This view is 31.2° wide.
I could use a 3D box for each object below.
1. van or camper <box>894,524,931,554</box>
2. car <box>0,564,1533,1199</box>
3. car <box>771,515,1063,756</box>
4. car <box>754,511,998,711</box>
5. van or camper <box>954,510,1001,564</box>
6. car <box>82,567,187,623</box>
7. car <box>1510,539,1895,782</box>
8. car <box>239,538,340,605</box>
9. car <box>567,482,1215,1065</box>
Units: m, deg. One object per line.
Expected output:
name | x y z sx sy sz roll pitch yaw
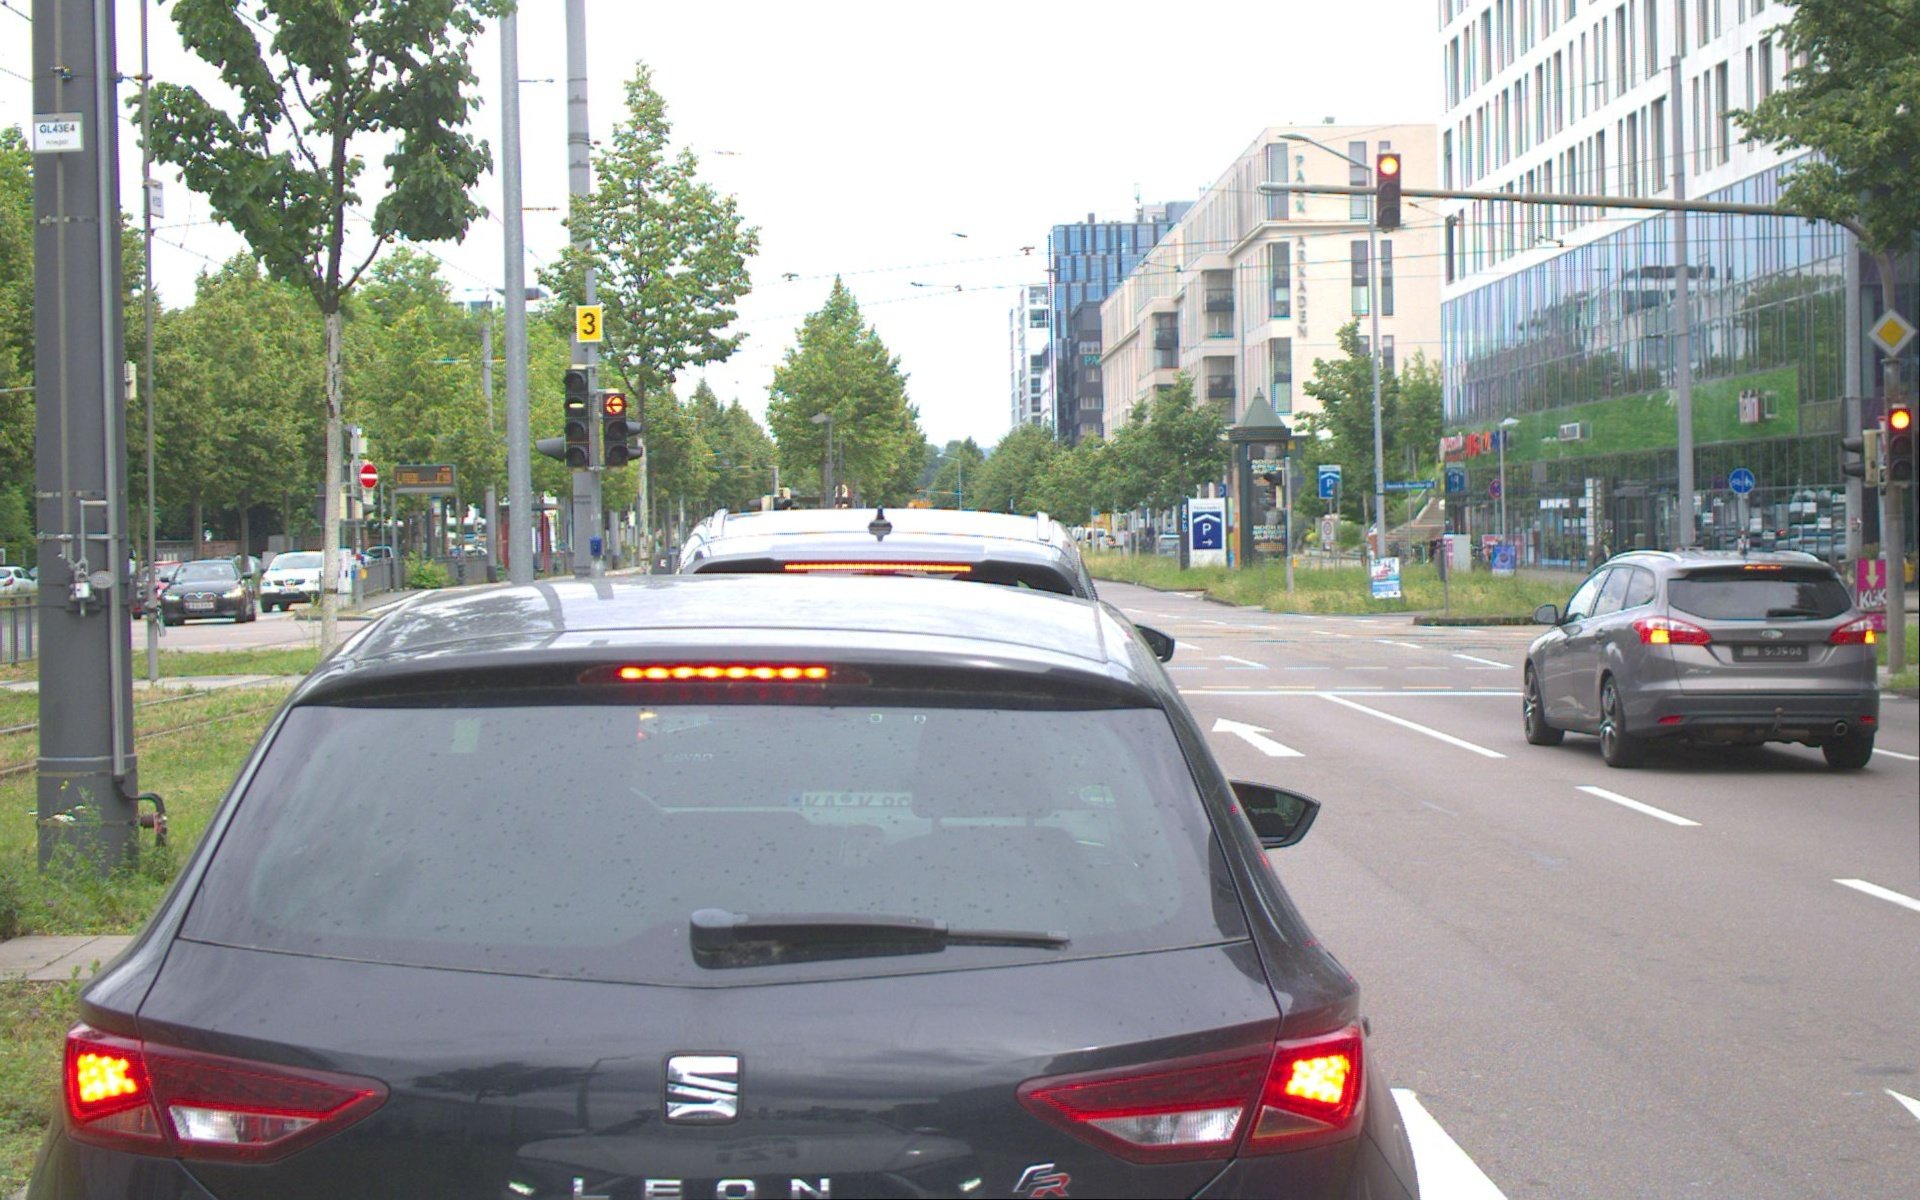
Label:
van or camper | -2.681 -3.474 195.273 1.993 1.609 4.789 0 2 0
car | -0.346 0.681 5.481 1.743 1.412 4.000 0 1 -1
car | -0.242 0.200 26.090 1.994 1.676 4.000 1 1 2
car | -0.693 0.042 31.149 1.993 1.676 4.000 0 1 2
van or camper | 0.792 -2.939 159.508 2.109 2.348 4.924 0 3 0
car | -21.916 -0.151 91.394 1.811 1.373 4.270 -1 1 -1
car | 5.176 0.358 24.527 1.748 1.494 4.269 0 2 -1
car | -18.110 -0.788 93.020 1.993 1.744 4.201 -1 1 -2
car | -0.217 0.448 11.705 1.802 1.619 4.000 -1 1 -1
